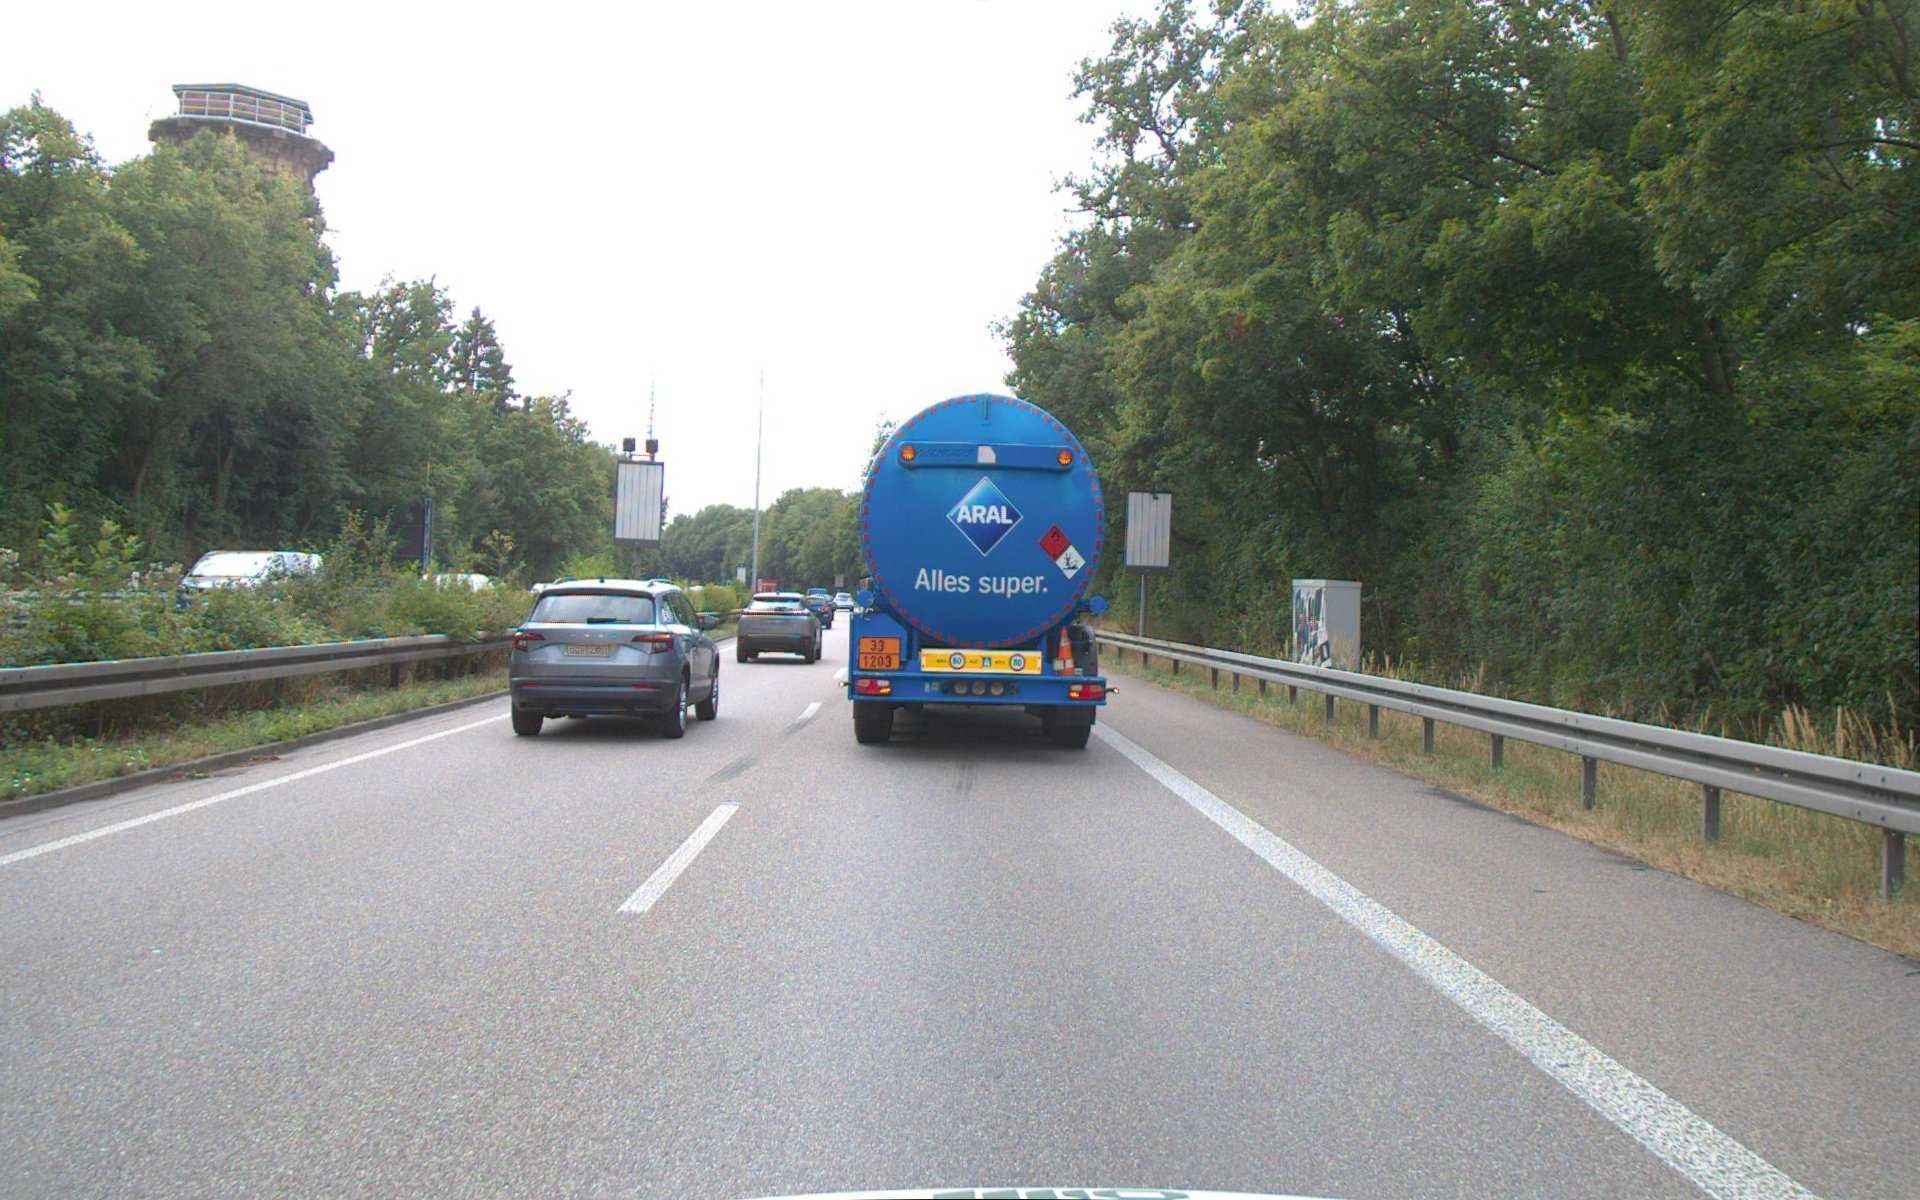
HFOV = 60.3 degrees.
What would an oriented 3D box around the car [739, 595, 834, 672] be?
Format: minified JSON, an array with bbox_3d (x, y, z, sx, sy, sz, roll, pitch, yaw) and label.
[{"bbox_3d":[-3.922,0.765,37.978,1.789,1.638,4.166,1,-1,-1],"label":"car"}]

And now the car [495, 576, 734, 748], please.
[{"bbox_3d":[-3.653,0.637,18.211,1.789,1.638,4.166,1,-1,-1],"label":"car"}]

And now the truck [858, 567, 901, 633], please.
[{"bbox_3d":[-4.006,0.065,83.371,1.953,3.147,7.811,1,-1,-2],"label":"truck"}]

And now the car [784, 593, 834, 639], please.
[{"bbox_3d":[-6.952,0.765,76.411,1.953,2.049,3.999,1,-1,-1],"label":"car"}]

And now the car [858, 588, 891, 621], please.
[{"bbox_3d":[-6.025,0.330,116.947,1.952,2.284,4.000,1,-1,1],"label":"car"}]

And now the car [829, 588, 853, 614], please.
[{"bbox_3d":[-11.007,0.099,152.781,1.953,2.284,3.999,1,-1,-1],"label":"car"}]

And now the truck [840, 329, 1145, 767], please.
[{"bbox_3d":[0.237,-0.409,18.808,2.699,3.914,7.686,1,-1,-1],"label":"truck"}]

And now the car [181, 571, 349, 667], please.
[{"bbox_3d":[-16.001,0.459,38.403,1.760,2.049,5.299,1,-1,-2],"label":"car"}]

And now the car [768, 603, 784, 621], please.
[{"bbox_3d":[-23.578,1.586,211.759,1.956,2.284,3.993,1,-1,-8],"label":"car"}]
